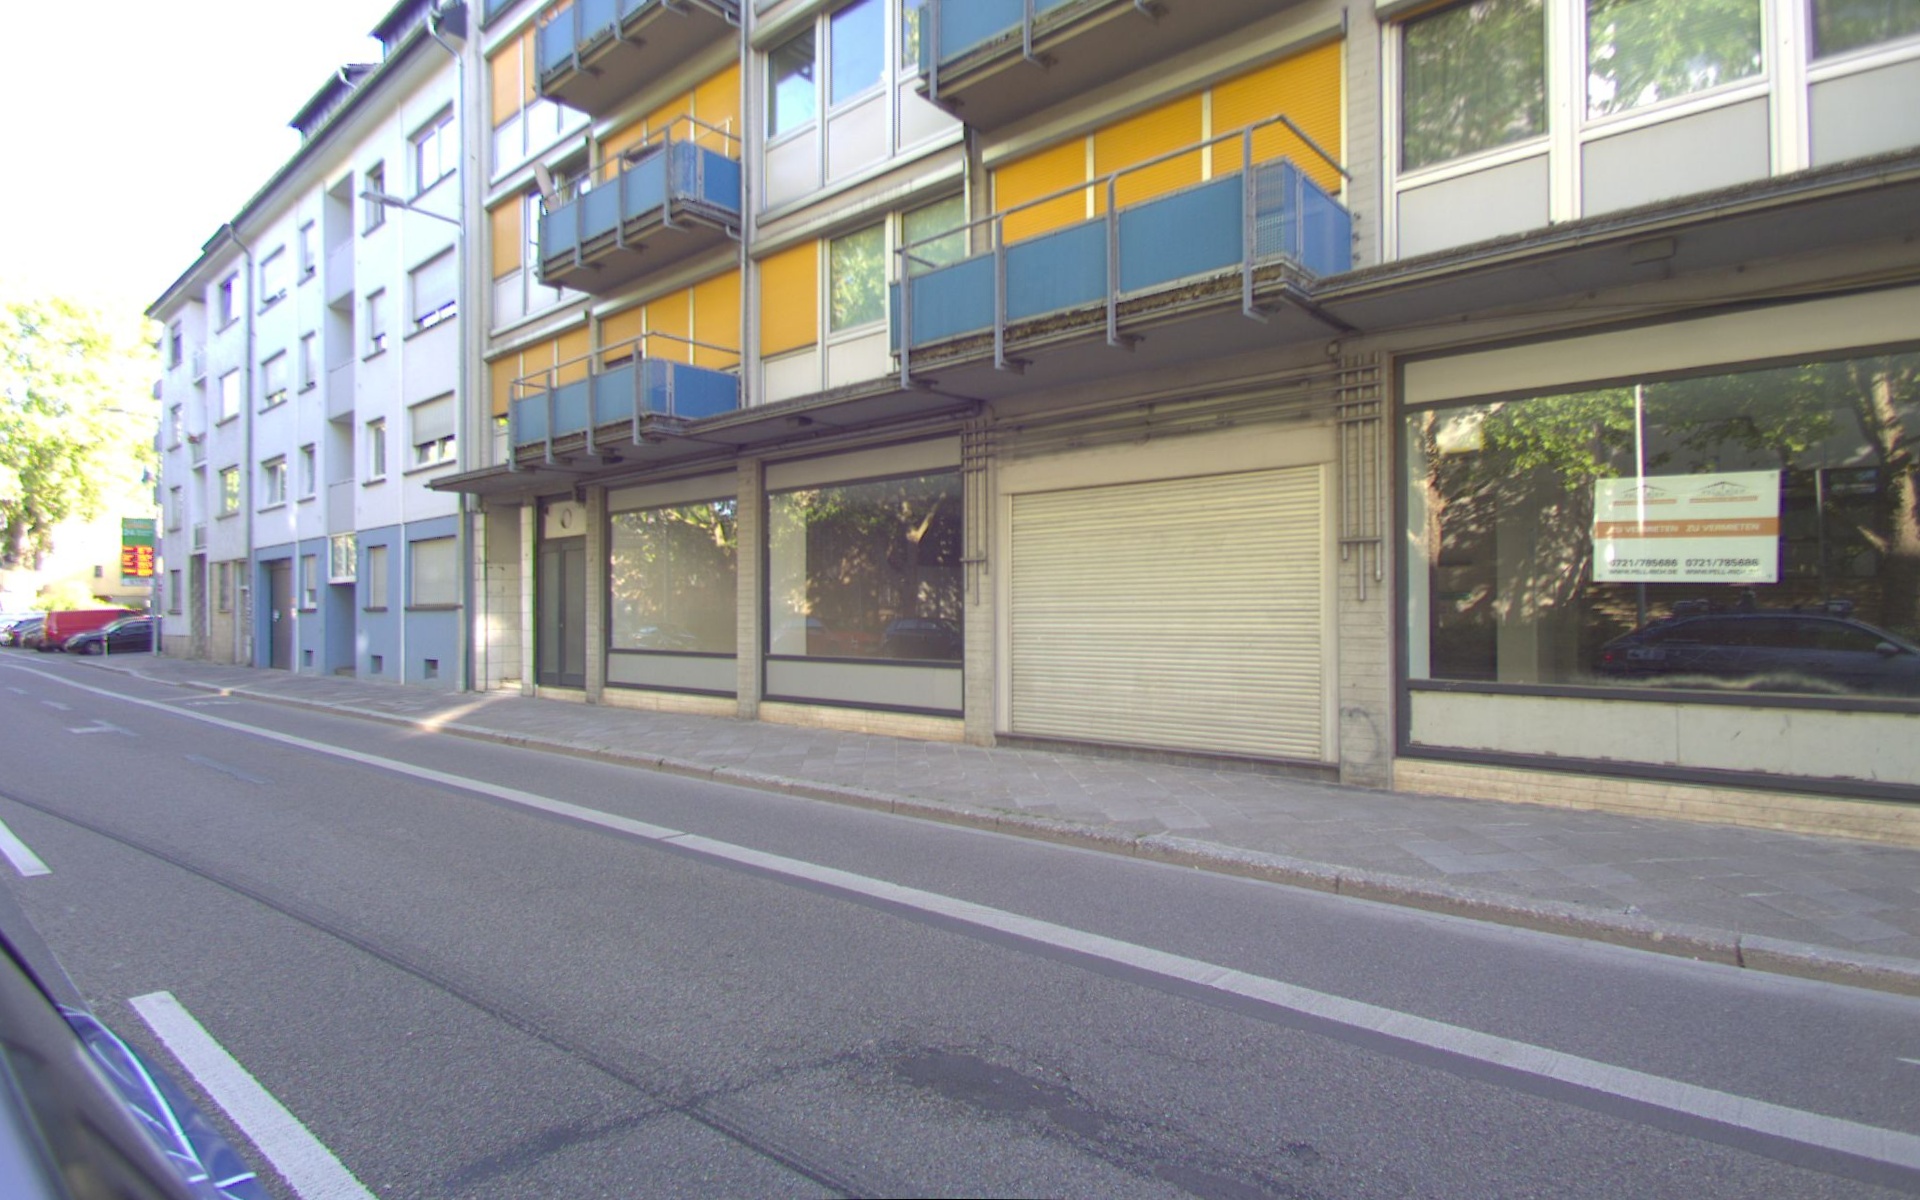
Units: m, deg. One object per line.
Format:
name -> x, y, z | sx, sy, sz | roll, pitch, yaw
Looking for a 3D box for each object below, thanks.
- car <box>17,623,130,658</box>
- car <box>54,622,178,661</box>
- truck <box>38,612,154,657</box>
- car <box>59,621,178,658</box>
car -> -42.922, 1.908, 49.046 | 1.761, 1.514, 3.944 | -1, 0, 42
car -> -36.640, 1.767, 44.020 | 1.761, 1.468, 3.944 | -1, 0, 42
truck -> -40.511, 1.575, 47.499 | 1.761, 1.951, 3.944 | -1, 0, 42
car -> -38.121, 1.763, 45.908 | 1.761, 1.514, 3.944 | -1, 0, 42
